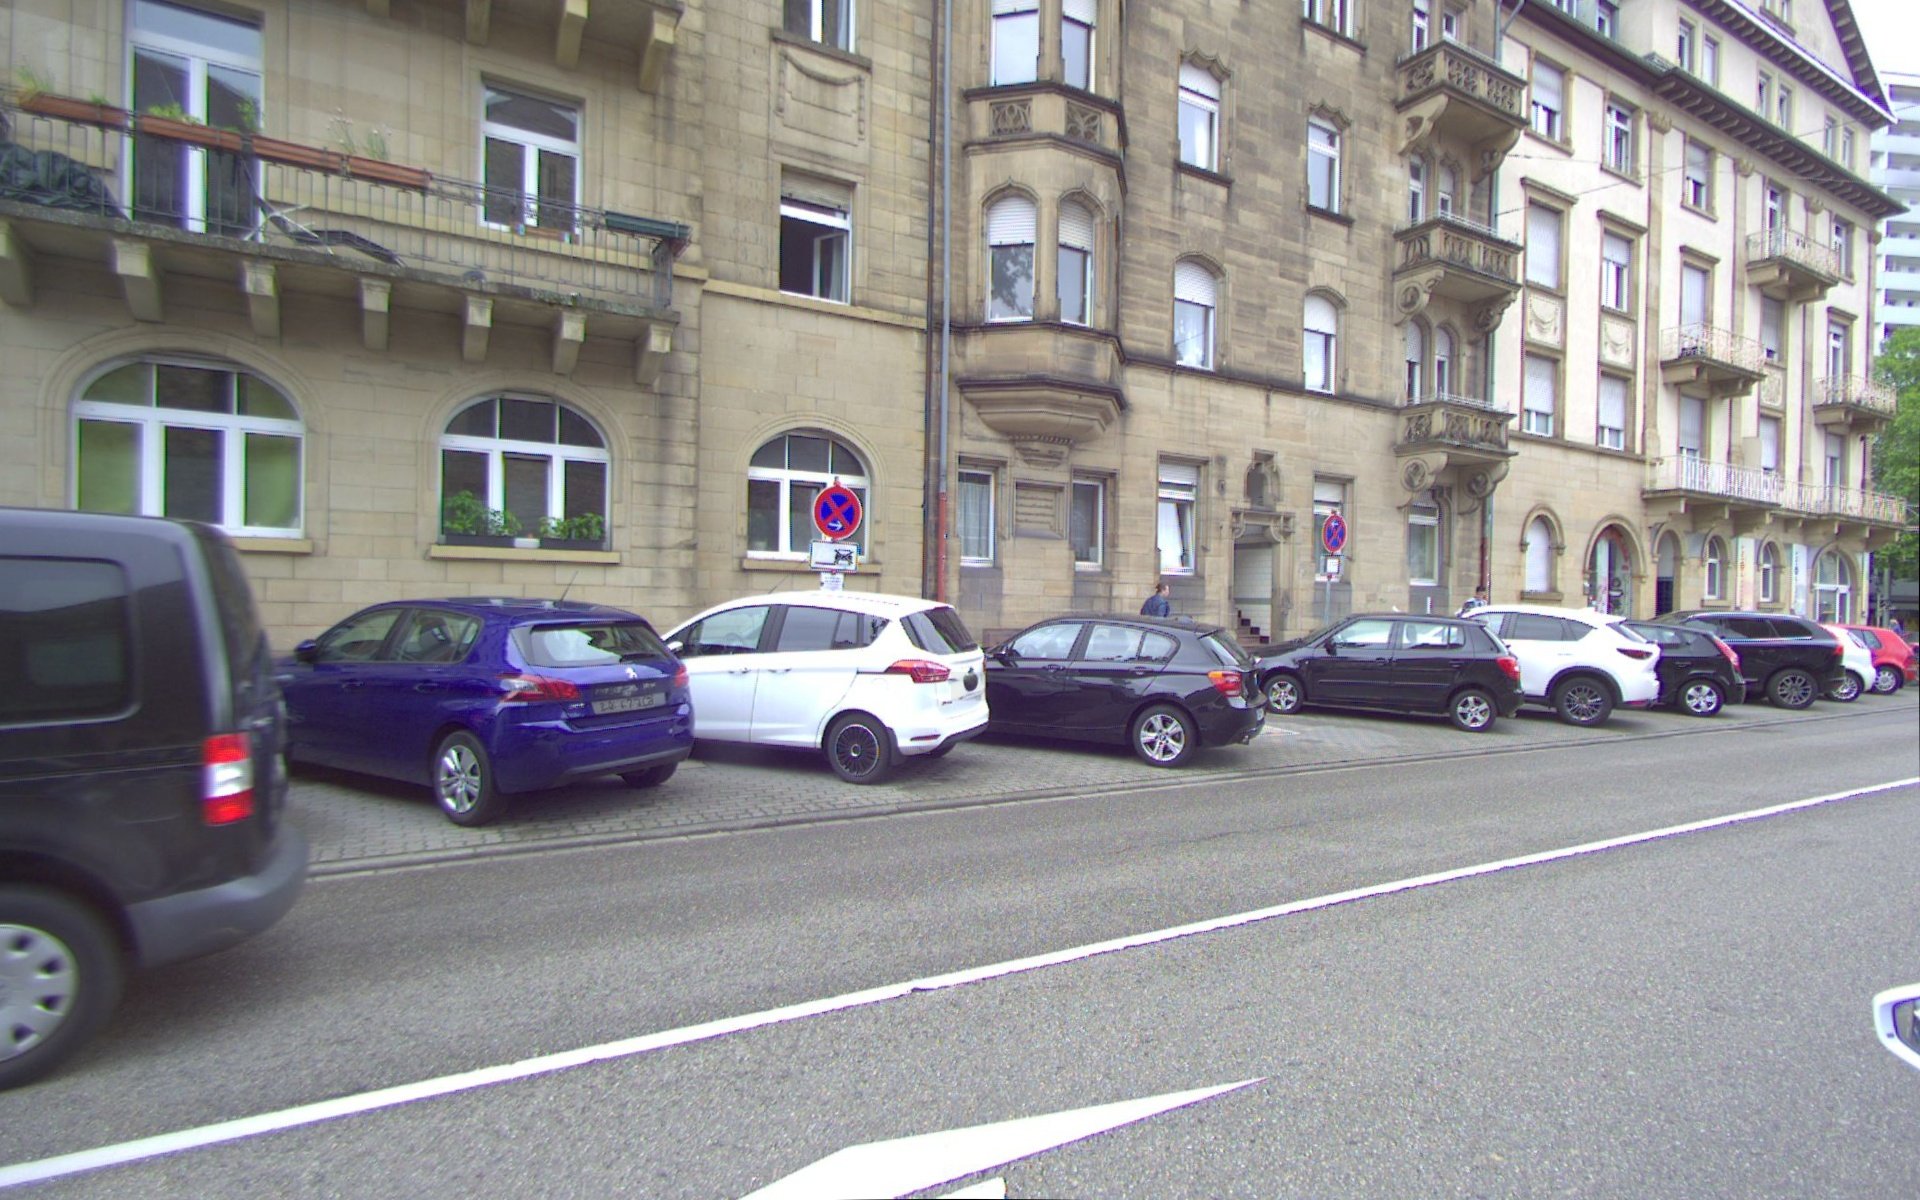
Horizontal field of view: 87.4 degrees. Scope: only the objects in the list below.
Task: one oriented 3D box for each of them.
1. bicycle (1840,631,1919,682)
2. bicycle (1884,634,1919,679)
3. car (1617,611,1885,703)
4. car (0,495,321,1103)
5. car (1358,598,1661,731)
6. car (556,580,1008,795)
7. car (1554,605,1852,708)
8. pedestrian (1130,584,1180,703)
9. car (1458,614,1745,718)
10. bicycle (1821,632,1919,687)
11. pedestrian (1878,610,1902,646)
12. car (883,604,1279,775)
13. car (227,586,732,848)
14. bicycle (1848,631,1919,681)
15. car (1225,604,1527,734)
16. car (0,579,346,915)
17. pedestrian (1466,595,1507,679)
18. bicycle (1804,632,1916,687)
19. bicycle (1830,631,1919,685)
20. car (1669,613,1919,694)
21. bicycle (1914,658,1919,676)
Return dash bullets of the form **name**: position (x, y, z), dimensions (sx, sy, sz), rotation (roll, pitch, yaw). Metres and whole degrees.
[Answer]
- **bicycle**: position (23.044, 1.397, 24.793), dimensions (0.437, 1.050, 1.876), rotation (0, 6, -31)
- **bicycle**: position (24.302, 1.476, 24.930), dimensions (0.437, 1.050, 1.876), rotation (0, 6, -31)
- **car**: position (15.995, 1.101, 20.549), dimensions (3.920, 1.492, 1.564), rotation (3, 2, 18)
- **car**: position (-4.370, 0.583, 3.035), dimensions (4.086, 1.827, 1.683), rotation (1, -1, -34)
- **car**: position (8.526, 0.899, 15.702), dimensions (3.935, 1.746, 1.835), rotation (2, 0, 36)
- **car**: position (-1.695, 0.681, 9.606), dimensions (3.922, 1.575, 1.702), rotation (3, 2, 22)
- **car**: position (13.841, 0.997, 19.011), dimensions (4.141, 1.674, 1.732), rotation (2, 0, 18)
- **pedestrian**: position (3.320, 0.730, 17.109), dimensions (0.544, 1.984, 0.616), rotation (1, 0, -29)
- **car**: position (10.934, 1.071, 17.475), dimensions (3.923, 1.514, 1.731), rotation (2, 0, 23)
- **bicycle**: position (22.040, 1.413, 24.162), dimensions (0.437, 1.050, 1.876), rotation (0, 6, -31)
- **pedestrian**: position (46.445, 1.392, 50.171), dimensions (0.718, 1.795, 0.671), rotation (1, 0, -30)
- **car**: position (1.305, 0.842, 10.925), dimensions (3.924, 1.436, 1.660), rotation (2, 1, 25)
- **car**: position (-3.823, 0.708, 7.905), dimensions (3.682, 1.465, 1.820), rotation (3, 2, 30)
- **bicycle**: position (23.566, 1.427, 25.145), dimensions (0.437, 1.050, 1.876), rotation (0, 6, -31)
- **car**: position (5.846, 0.905, 14.413), dimensions (3.738, 1.517, 1.569), rotation (3, 1, 22)
- **car**: position (-5.928, 0.669, 6.363), dimensions (3.927, 1.457, 1.730), rotation (3, 2, 28)
- **pedestrian**: position (11.508, 0.795, 21.959), dimensions (0.544, 1.809, 0.564), rotation (1, 0, -29)
- **bicycle**: position (21.303, 1.396, 23.829), dimensions (0.436, 1.050, 1.879), rotation (1, 4, -26)
- **bicycle**: position (22.489, 1.406, 24.444), dimensions (0.437, 1.050, 1.876), rotation (0, 6, -31)
- **car**: position (18.295, 1.140, 22.178), dimensions (3.919, 1.492, 1.684), rotation (2, 2, 12)
- **bicycle**: position (25.339, 1.798, 25.168), dimensions (1.017, 0.451, 1.876), rotation (-1, 6, -31)
